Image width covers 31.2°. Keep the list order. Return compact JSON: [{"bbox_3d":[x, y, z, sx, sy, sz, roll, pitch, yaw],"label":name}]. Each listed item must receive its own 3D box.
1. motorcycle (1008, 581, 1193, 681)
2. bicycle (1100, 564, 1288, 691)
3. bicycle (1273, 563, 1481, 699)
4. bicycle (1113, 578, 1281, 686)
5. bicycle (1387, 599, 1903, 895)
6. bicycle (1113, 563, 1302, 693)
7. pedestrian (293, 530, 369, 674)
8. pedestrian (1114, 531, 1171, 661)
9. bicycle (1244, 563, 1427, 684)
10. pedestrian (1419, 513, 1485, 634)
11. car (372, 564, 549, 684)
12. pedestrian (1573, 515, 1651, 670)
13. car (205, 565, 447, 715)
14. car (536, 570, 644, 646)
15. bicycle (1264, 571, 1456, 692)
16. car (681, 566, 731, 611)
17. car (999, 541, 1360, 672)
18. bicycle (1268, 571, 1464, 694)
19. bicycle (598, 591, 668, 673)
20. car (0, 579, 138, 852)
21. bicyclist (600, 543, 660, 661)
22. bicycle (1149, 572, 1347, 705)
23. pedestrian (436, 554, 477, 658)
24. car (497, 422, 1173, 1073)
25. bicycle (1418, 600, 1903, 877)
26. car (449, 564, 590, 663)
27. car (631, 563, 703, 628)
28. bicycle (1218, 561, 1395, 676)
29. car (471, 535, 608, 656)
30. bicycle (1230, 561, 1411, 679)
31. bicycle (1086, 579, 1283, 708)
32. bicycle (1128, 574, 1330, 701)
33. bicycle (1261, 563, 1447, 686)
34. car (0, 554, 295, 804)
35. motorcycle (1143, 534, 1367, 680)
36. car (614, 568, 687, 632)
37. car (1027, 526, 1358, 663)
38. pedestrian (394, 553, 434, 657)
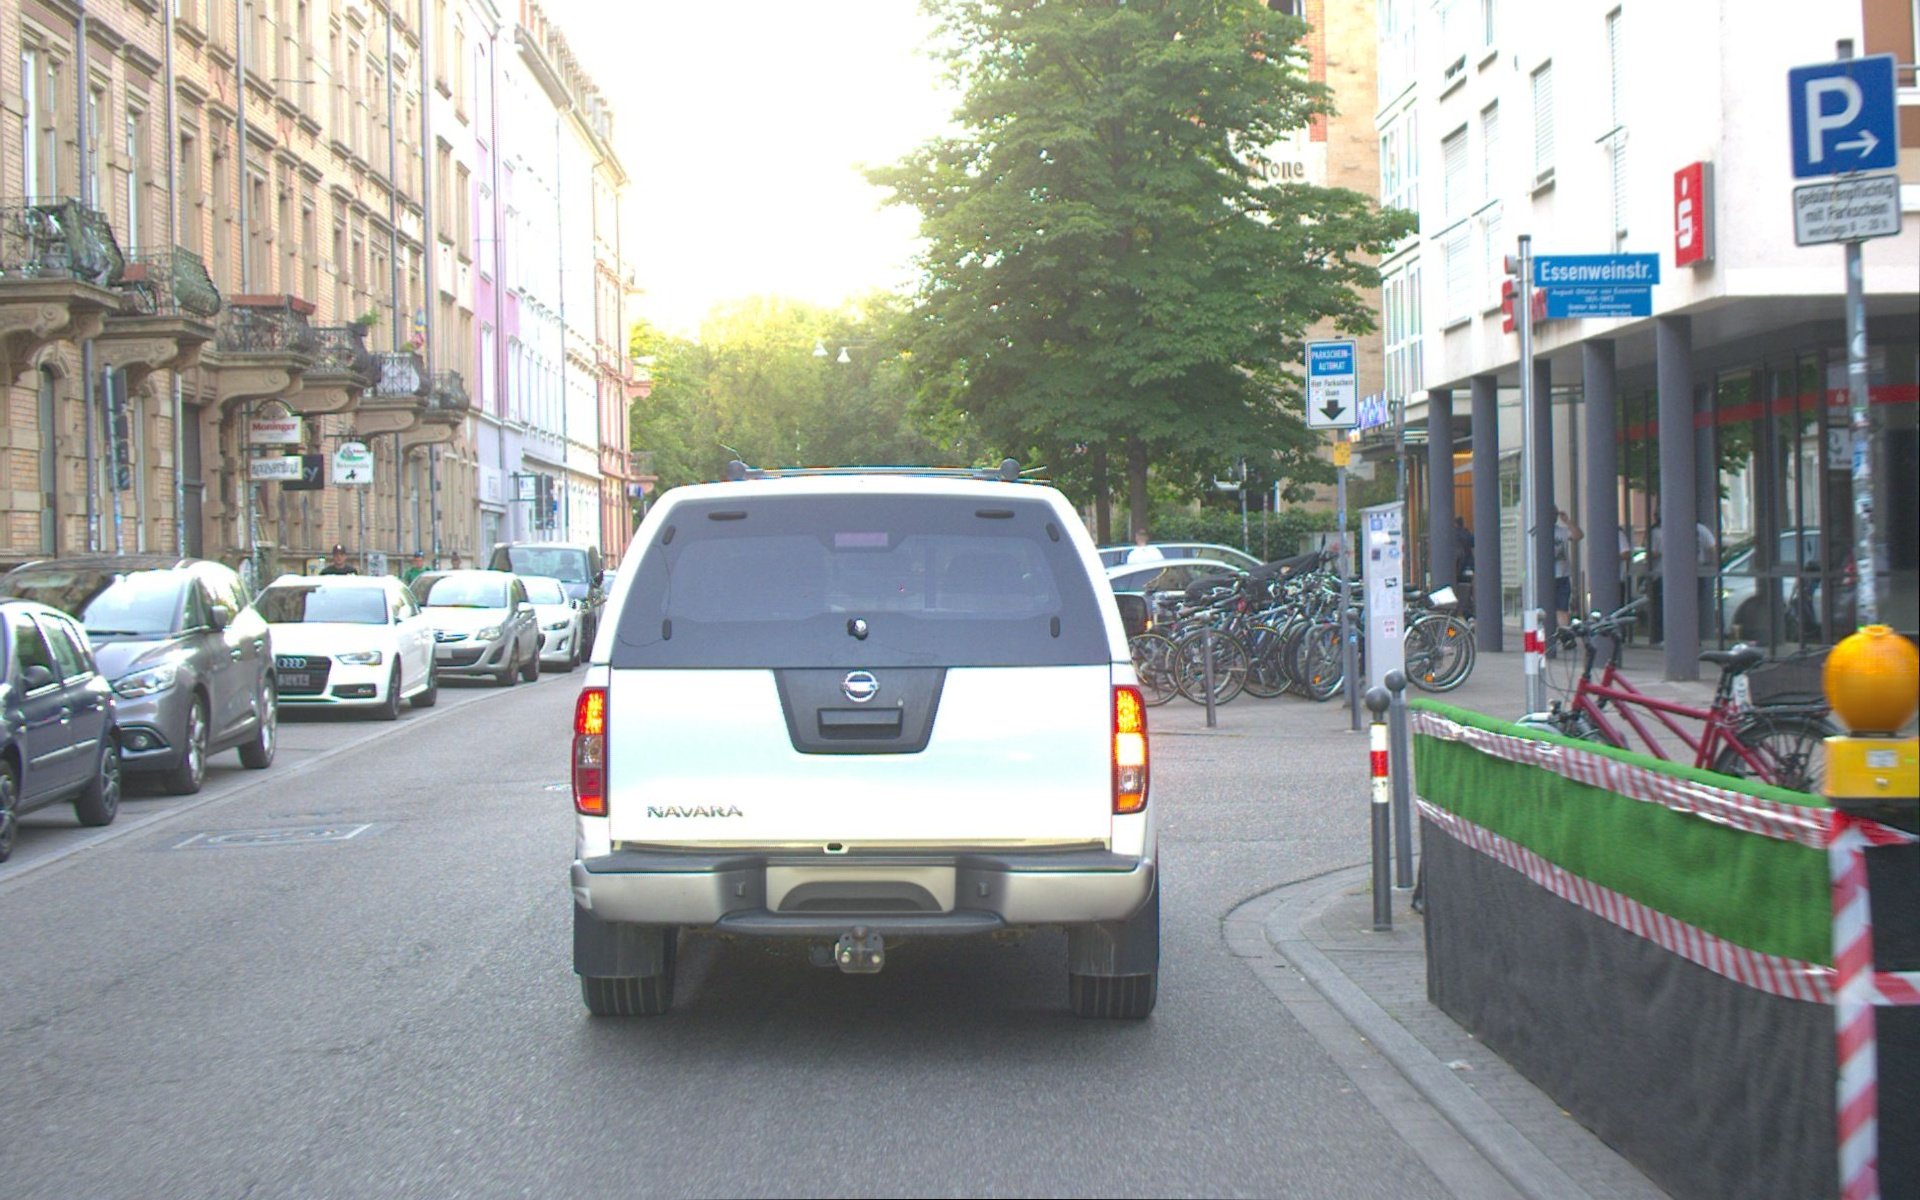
[{"bbox_3d":[1.685,0.366,41.231,2.057,1.074,0.664,-3,0,-16],"label":"motorcycle"},{"bbox_3d":[2.461,0.287,36.189,1.869,1.178,0.743,-5,0,4],"label":"bicycle"},{"bbox_3d":[3.773,0.274,31.127,1.722,1.128,0.579,-3,0,-13],"label":"bicycle"},{"bbox_3d":[2.582,0.343,37.561,1.719,1.028,0.667,-5,0,2],"label":"bicycle"},{"bbox_3d":[2.813,0.615,14.229,1.942,1.131,0.656,-3,0,36],"label":"bicycle"},{"bbox_3d":[2.547,0.280,35.348,1.789,1.178,0.733,-5,0,10],"label":"bicycle"},{"bbox_3d":[-7.766,0.030,42.447,0.554,1.749,1.022,-1,-1,13],"label":"pedestrian"},{"bbox_3d":[2.470,-0.058,46.549,0.625,1.747,0.588,0,-1,-12],"label":"pedestrian"},{"bbox_3d":[3.765,0.236,34.552,1.722,1.114,0.653,-3,0,2],"label":"bicycle"},{"bbox_3d":[7.147,-0.380,49.969,0.727,1.710,0.963,-3,0,-1],"label":"pedestrian"},{"bbox_3d":[-6.464,0.278,44.818,1.717,1.452,4.000,1,1,0],"label":"car"},{"bbox_3d":[7.421,-0.086,39.123,0.663,1.717,0.662,-1,2,26],"label":"pedestrian"},{"bbox_3d":[-6.443,0.365,35.379,1.758,1.407,4.509,0,1,-1],"label":"car"},{"bbox_3d":[-7.202,0.152,67.225,1.736,1.413,4.779,1,0,-2],"label":"car"},{"bbox_3d":[3.809,0.299,32.825,1.722,1.050,0.653,-3,0,2],"label":"bicycle"},{"bbox_3d":[-8.856,-0.413,119.980,1.698,1.547,4.022,1,0,-4],"label":"car"},{"bbox_3d":[2.864,0.073,45.352,4.422,1.450,1.780,-3,1,-7],"label":"car"},{"bbox_3d":[3.787,0.302,32.153,1.722,1.050,0.653,-3,0,2],"label":"bicycle"},{"bbox_3d":[-4.620,0.445,48.668,0.645,1.077,2.168,-3,1,2],"label":"bicycle"},{"bbox_3d":[-5.913,0.614,19.610,1.585,1.416,3.696,0,1,0],"label":"car"},{"bbox_3d":[-4.650,0.023,48.451,0.645,1.615,0.918,-3,1,2],"label":"bicyclist"},{"bbox_3d":[2.629,0.350,31.535,1.722,1.114,0.707,-3,0,2],"label":"bicycle"},{"bbox_3d":[-8.747,0.101,59.723,0.605,1.766,0.777,2,1,-5],"label":"pedestrian"},{"bbox_3d":[-0.202,0.401,12.495,1.911,1.847,5.270,0,0,4],"label":"car"},{"bbox_3d":[3.071,0.620,15.175,1.942,1.131,0.656,-3,0,36],"label":"bicycle"},{"bbox_3d":[-6.697,0.170,52.622,1.783,1.418,4.486,1,1,-3],"label":"car"},{"bbox_3d":[-7.821,-0.125,91.995,1.844,1.653,4.253,-1,0,-4],"label":"car"},{"bbox_3d":[3.660,0.191,36.355,1.722,1.114,0.654,-3,0,-4],"label":"bicycle"},{"bbox_3d":[-7.032,-0.101,57.850,1.993,1.917,4.952,1,1,-4],"label":"car"},{"bbox_3d":[3.729,0.205,35.634,1.722,1.114,0.654,-3,0,-4],"label":"bicycle"},{"bbox_3d":[2.108,0.403,32.389,1.722,1.114,0.707,-3,0,-3],"label":"bicycle"},{"bbox_3d":[2.584,0.356,33.185,1.809,1.114,0.707,-3,0,-3],"label":"bicycle"},{"bbox_3d":[3.884,0.239,33.984,1.722,1.114,0.653,-3,0,2],"label":"bicycle"},{"bbox_3d":[-6.147,0.494,24.987,1.853,1.628,4.446,0,1,-1],"label":"car"},{"bbox_3d":[3.446,0.080,40.352,2.492,1.544,0.824,-3,0,2],"label":"motorcycle"},{"bbox_3d":[-7.680,-0.016,85.506,1.636,1.560,3.782,0,1,-2],"label":"car"},{"bbox_3d":[3.218,-0.084,48.121,4.398,1.642,1.746,-3,1,-1],"label":"car"},{"bbox_3d":[-9.441,0.080,59.471,0.580,1.765,0.998,2,1,-5],"label":"pedestrian"}]
